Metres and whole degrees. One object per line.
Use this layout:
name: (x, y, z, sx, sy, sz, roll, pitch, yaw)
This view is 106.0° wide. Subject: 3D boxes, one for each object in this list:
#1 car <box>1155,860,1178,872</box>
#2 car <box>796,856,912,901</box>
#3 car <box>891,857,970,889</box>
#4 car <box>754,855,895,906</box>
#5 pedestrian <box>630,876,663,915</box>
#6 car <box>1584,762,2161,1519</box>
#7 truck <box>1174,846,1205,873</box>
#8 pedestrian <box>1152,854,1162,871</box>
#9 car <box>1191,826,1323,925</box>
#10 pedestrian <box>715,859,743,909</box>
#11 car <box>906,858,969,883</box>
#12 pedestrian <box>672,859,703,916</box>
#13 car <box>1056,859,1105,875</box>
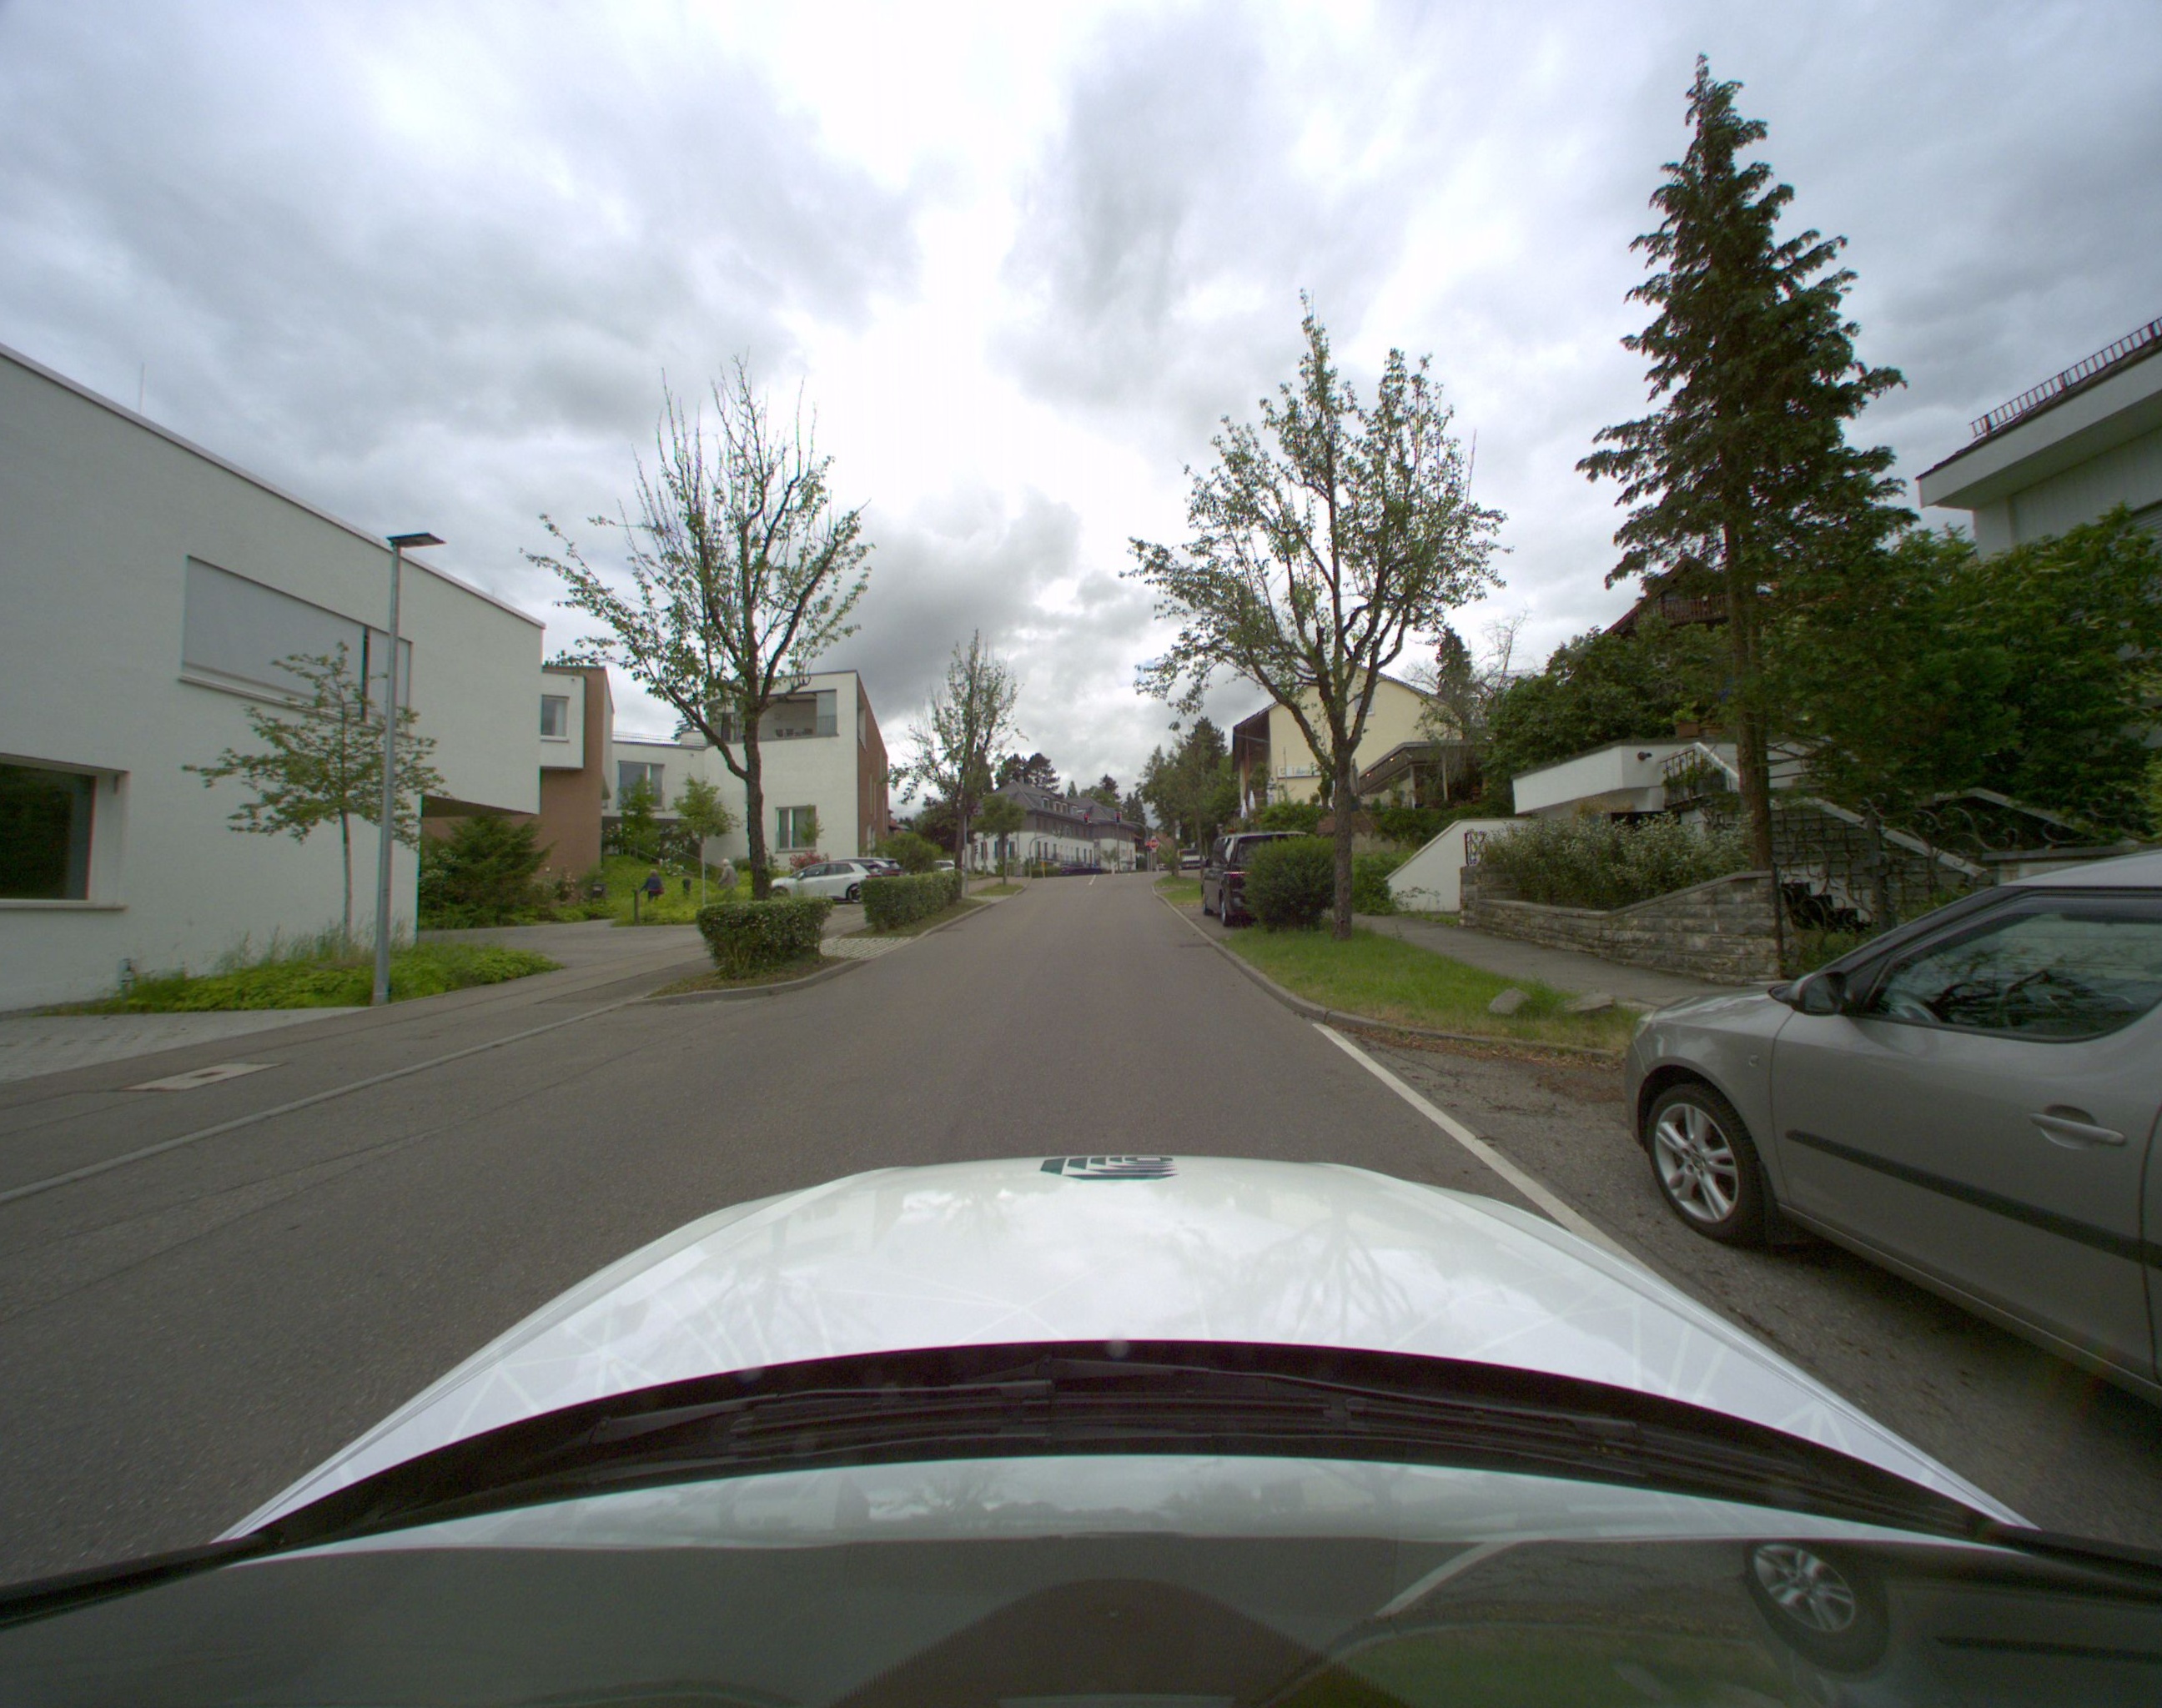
car: (10.199, 1.425, 96.977, 1.978, 1.287, 4.017, 0, 0, 16)
car: (-8.950, 0.945, 32.345, 3.971, 1.653, 2.009, -2, 0, 2)
car: (-8.909, 1.125, 48.547, 4.248, 1.623, 2.012, -3, -1, -2)
car: (-9.264, 0.947, 29.706, 4.372, 1.566, 2.066, -3, 0, 0)
pedestrian: (-14.866, 1.402, 27.868, 0.605, 1.283, 0.900, -1, 0, 1)
car: (3.188, 0.612, 1.928, 1.710, 1.632, 3.931, -1, 0, 3)
truck: (10.219, 0.522, 76.824, 2.176, 2.195, 5.881, -2, -3, 1)
pedestrian: (7.549, 0.861, 80.726, 0.677, 1.682, 0.704, -3, -1, 32)
car: (3.729, 0.416, 18.235, 1.929, 1.838, 5.221, -2, 0, 2)
pedestrian: (-11.797, 1.007, 27.329, 0.591, 1.640, 0.566, -3, -1, 2)
car: (-9.248, 1.046, 52.700, 3.753, 1.464, 1.729, -2, 0, -5)
pedestrian: (-11.760, 0.990, 24.342, 0.586, 1.682, 0.520, -2, -1, 2)
car: (-0.057, 1.350, 83.638, 4.734, 1.491, 2.137, -2, 0, -38)
